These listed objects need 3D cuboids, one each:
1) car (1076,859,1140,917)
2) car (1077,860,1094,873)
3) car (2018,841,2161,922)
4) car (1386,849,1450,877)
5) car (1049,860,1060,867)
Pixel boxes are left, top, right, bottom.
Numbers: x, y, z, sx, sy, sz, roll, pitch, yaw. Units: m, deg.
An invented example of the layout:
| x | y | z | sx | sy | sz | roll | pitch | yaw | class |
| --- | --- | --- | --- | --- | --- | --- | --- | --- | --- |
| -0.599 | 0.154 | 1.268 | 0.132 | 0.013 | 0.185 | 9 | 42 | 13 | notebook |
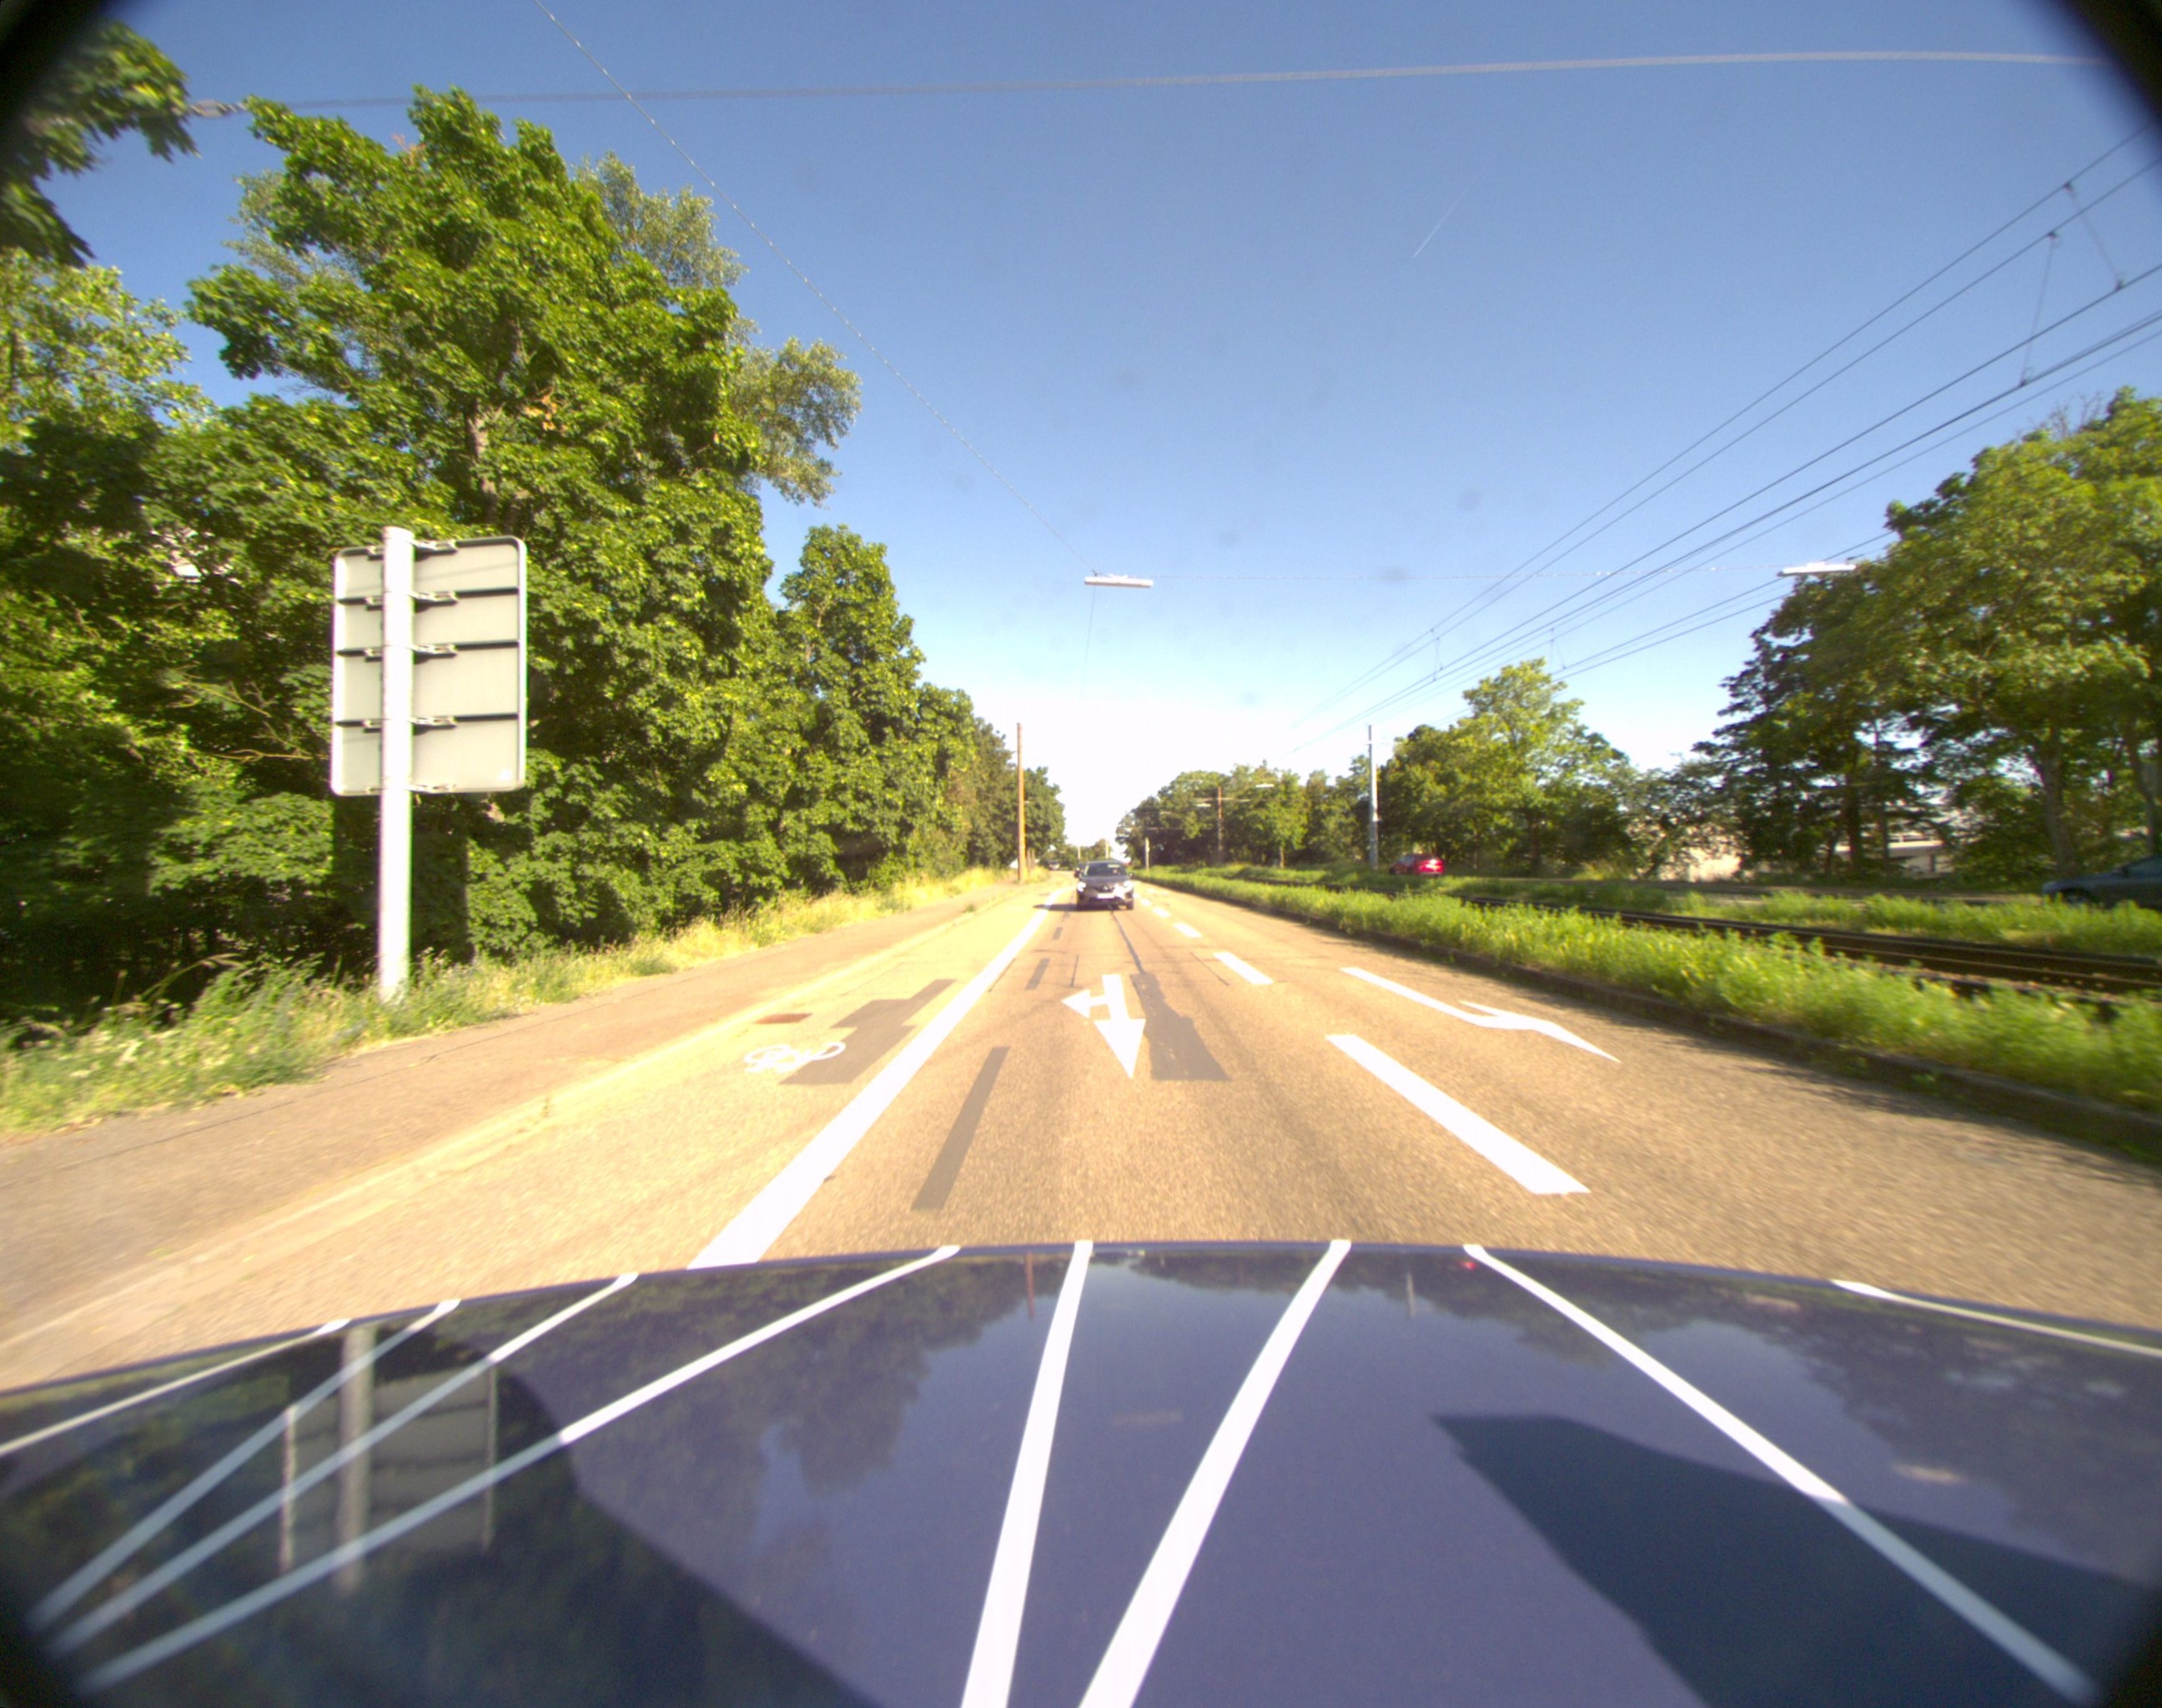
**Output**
| x | y | z | sx | sy | sz | roll | pitch | yaw | class |
| --- | --- | --- | --- | --- | --- | --- | --- | --- | --- |
| 0.810 | 1.011 | 24.379 | 1.822 | 1.589 | 4.413 | -2 | 0 | 0 | car |
| 0.601 | 1.624 | 101.195 | 1.999 | 1.577 | 3.999 | -2 | 0 | -2 | car |
| 21.417 | 0.510 | 14.463 | 1.740 | 1.485 | 4.327 | -3 | 0 | -1 | car |
| 21.340 | 0.545 | 48.290 | 2.009 | 1.692 | 4.466 | -1 | 0 | 0 | car |
| -5.662 | 2.016 | 162.143 | 2.000 | 1.577 | 3.998 | -2 | 0 | -6 | car |
